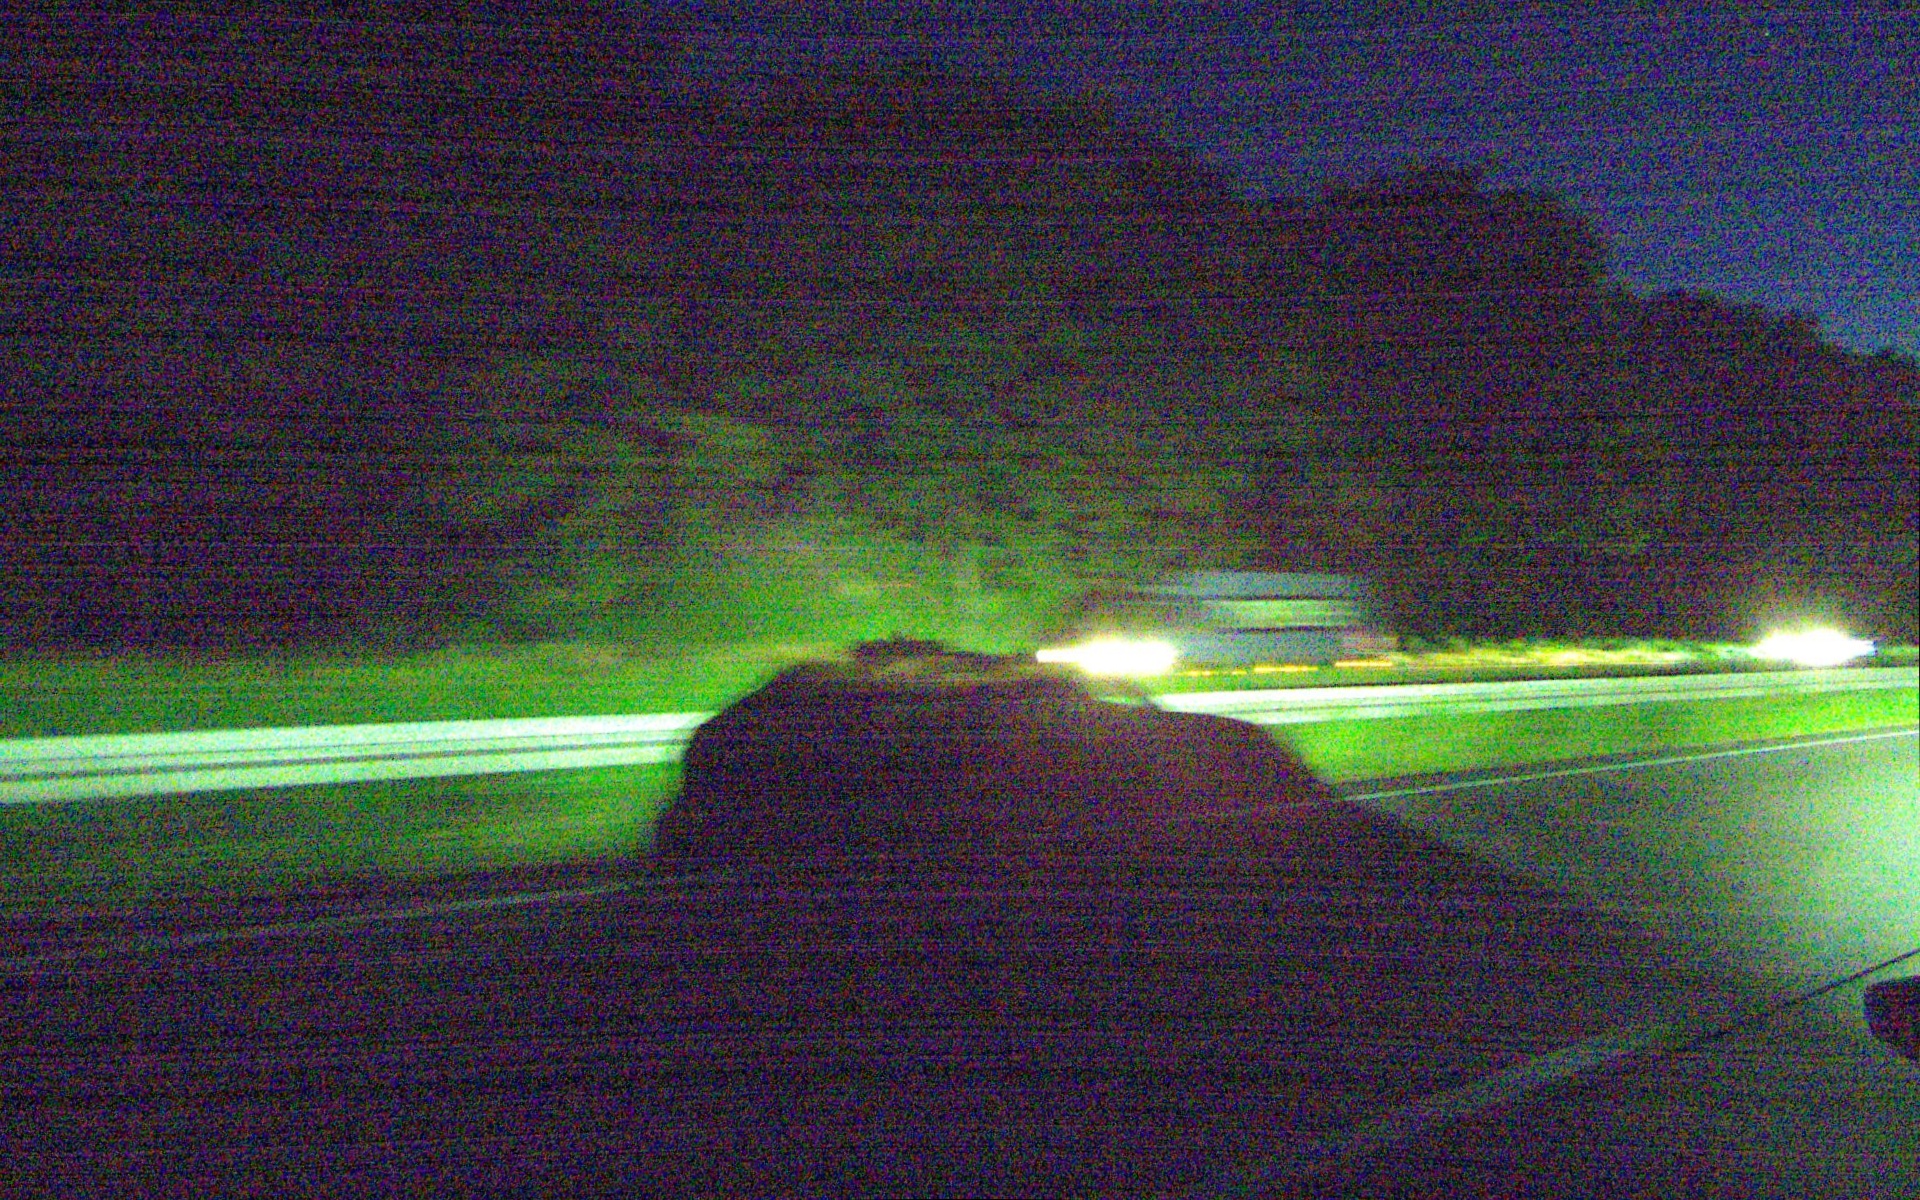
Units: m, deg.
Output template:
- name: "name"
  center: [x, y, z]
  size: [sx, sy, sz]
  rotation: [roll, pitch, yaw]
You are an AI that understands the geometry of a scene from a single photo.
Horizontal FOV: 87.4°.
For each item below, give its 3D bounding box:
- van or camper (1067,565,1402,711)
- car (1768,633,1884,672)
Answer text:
- name: "van or camper"
  center: [5.960, 0.797, 21.184]
  size: [7.578, 2.652, 2.283]
  rotation: [1, -2, -31]
- name: "car"
  center: [34.243, 2.044, 39.717]
  size: [4.114, 1.476, 1.952]
  rotation: [1, -2, -25]
